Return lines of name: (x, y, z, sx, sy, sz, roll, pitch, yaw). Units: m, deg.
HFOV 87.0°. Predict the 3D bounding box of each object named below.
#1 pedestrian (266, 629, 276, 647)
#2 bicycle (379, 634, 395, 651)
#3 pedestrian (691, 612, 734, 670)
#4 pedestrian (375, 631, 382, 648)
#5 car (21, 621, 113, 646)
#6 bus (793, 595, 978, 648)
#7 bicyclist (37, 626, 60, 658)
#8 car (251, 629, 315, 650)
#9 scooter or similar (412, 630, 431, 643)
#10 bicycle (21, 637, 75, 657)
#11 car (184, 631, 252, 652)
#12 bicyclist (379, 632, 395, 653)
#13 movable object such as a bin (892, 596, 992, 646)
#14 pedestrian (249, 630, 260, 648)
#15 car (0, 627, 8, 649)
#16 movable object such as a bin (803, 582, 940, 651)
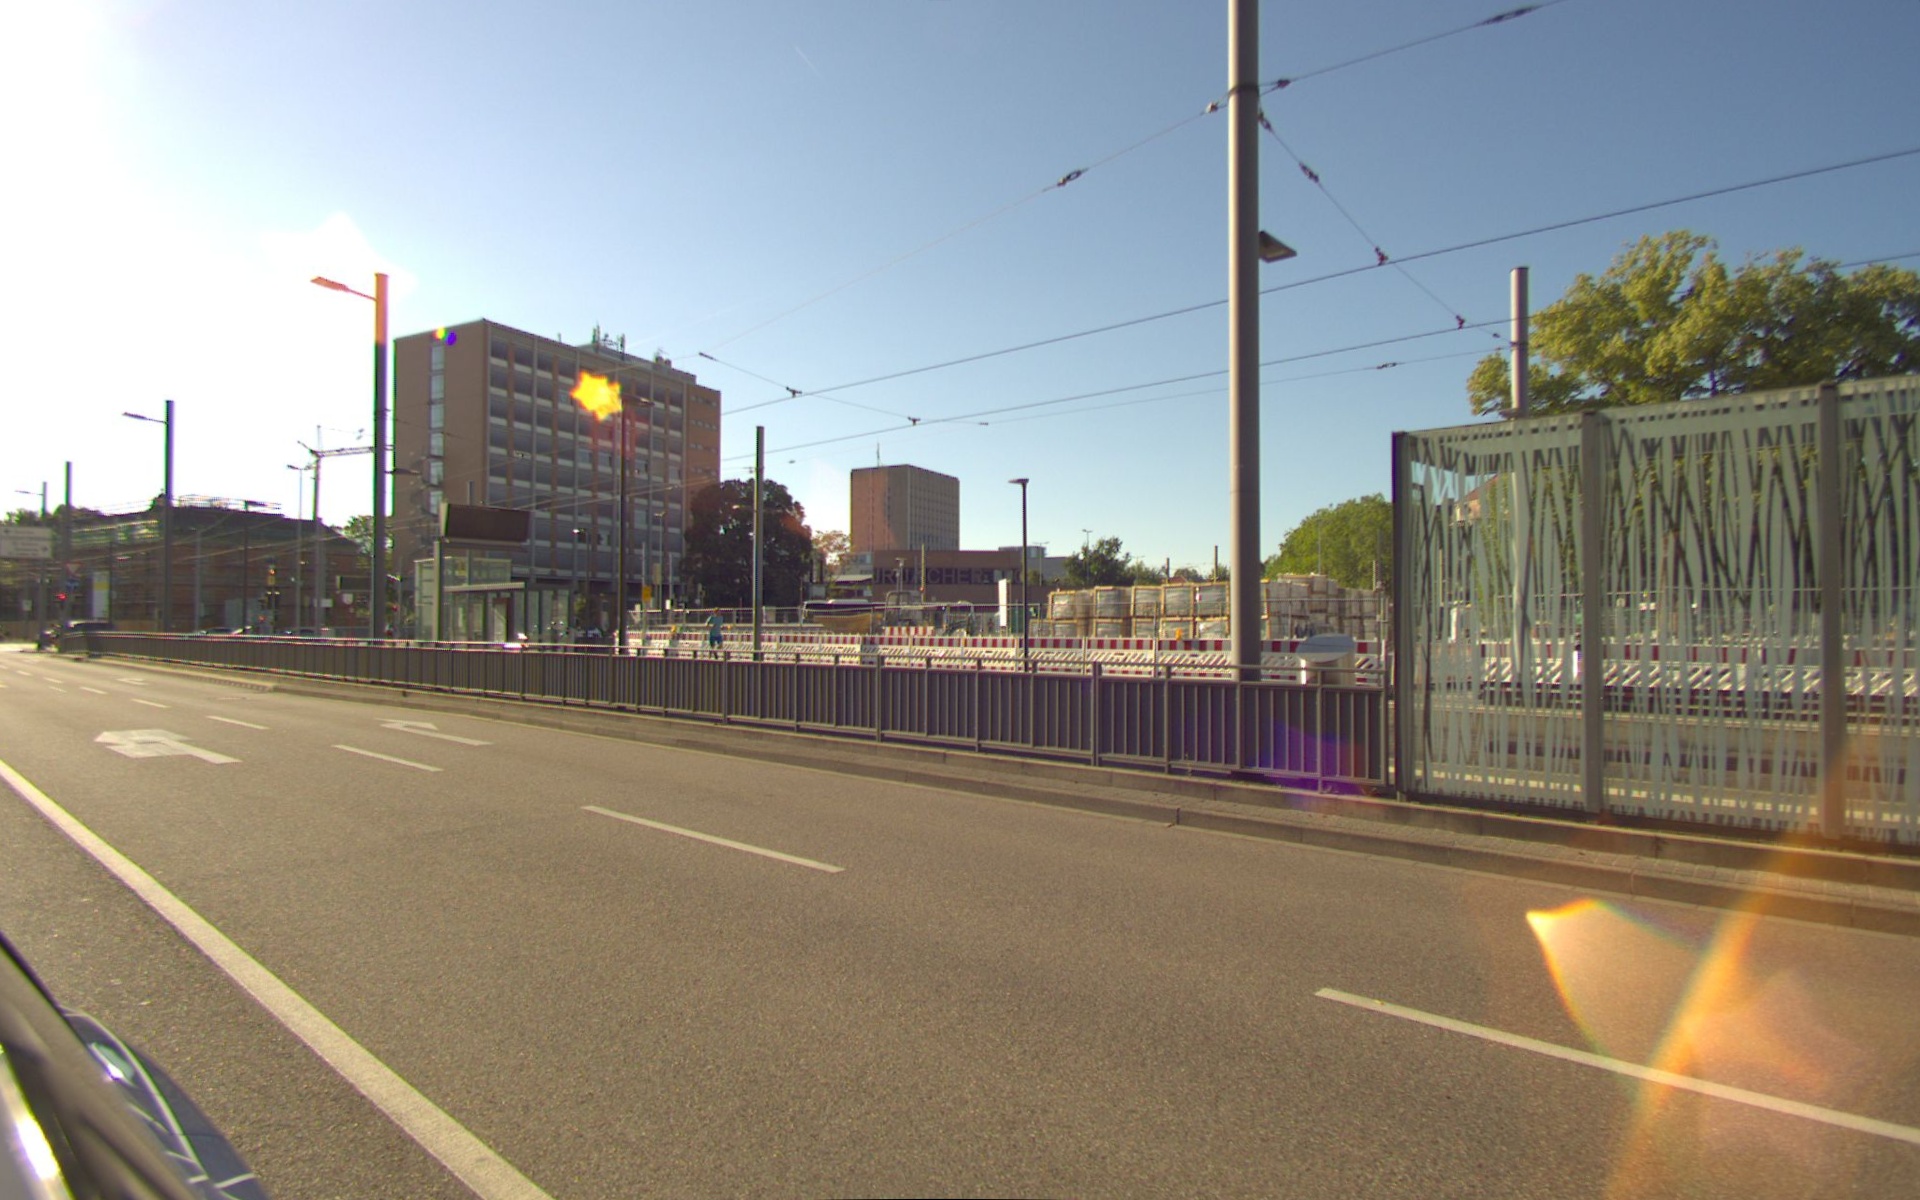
pedestrian: (-66.840, 3.707, 98.122, 0.721, 1.752, 0.623, 2, -1, -38)
bicycle: (-40.332, 2.989, 71.232, 0.802, 0.948, 2.008, -6, 4, -26)
pedestrian: (-7.960, 1.327, 32.506, 1.179, 1.782, 0.793, -5, -6, 41)
pedestrian: (-56.587, 3.882, 98.496, 0.496, 1.648, 0.428, 2, -6, -41)
car: (-64.072, 2.396, 72.699, 1.990, 1.701, 4.574, -1, -2, 27)
bus: (-5.165, 1.519, 69.993, 12.467, 3.219, 2.844, -1, -4, -5)
bicyclist: (-46.300, 2.129, 51.400, 0.814, 1.629, 0.668, -1, -3, 36)
car: (-59.601, 3.471, 89.177, 4.628, 1.697, 2.005, 1, -5, -34)
scooter or similar: (-57.277, 3.863, 107.565, 1.691, 1.257, 0.796, -2, -4, 14)
bicycle: (-46.297, 2.394, 51.400, 0.814, 0.949, 1.872, -1, -3, 36)
car: (-65.495, 3.648, 89.379, 4.626, 1.697, 2.006, 1, -5, -31)
bicyclist: (-40.335, 2.989, 71.226, 0.802, 1.354, 0.905, -6, 3, -26)
movable object such as a bin: (-0.696, 0.820, 37.222, 3.862, 1.599, 1.161, -5, -5, 41)
pedestrian: (-67.640, 3.758, 97.025, 0.612, 1.752, 0.666, 1, -1, -7)
car: (-77.703, 2.967, 78.856, 4.625, 1.697, 2.006, 0, -5, -25)
movable object such as a bin: (-3.727, 0.771, 42.611, 5.137, 2.545, 2.614, -3, -5, 24)
